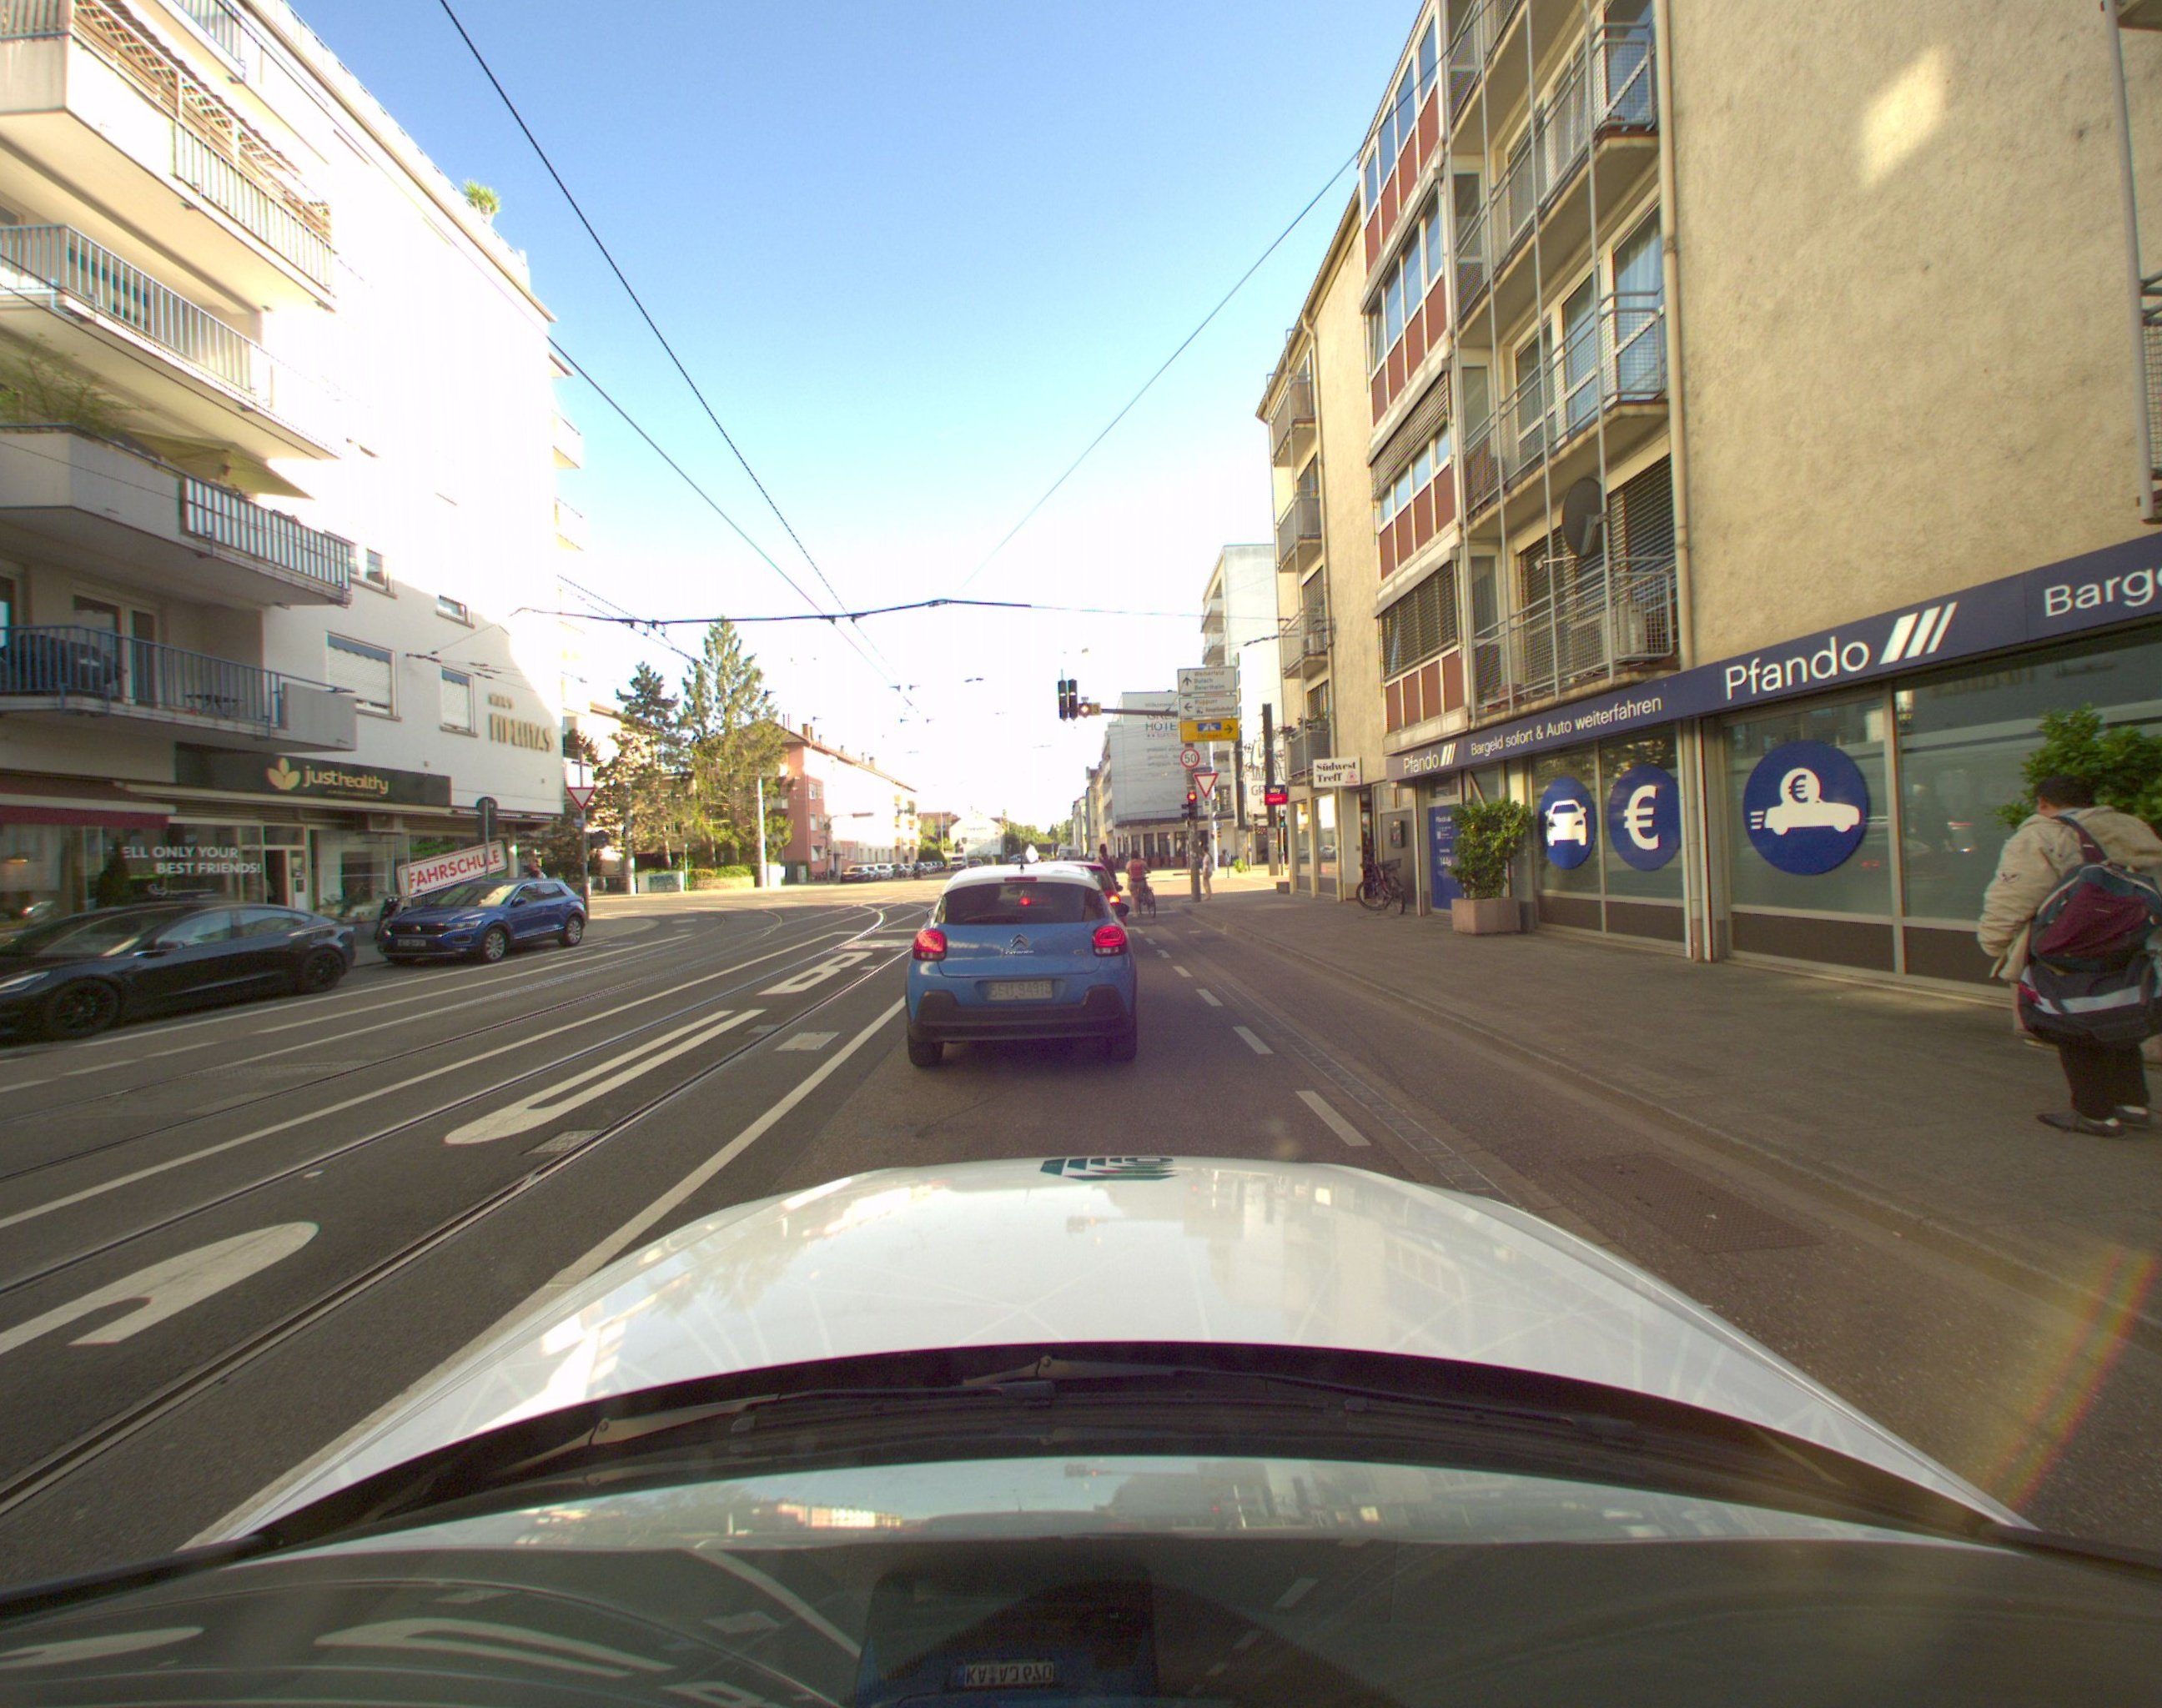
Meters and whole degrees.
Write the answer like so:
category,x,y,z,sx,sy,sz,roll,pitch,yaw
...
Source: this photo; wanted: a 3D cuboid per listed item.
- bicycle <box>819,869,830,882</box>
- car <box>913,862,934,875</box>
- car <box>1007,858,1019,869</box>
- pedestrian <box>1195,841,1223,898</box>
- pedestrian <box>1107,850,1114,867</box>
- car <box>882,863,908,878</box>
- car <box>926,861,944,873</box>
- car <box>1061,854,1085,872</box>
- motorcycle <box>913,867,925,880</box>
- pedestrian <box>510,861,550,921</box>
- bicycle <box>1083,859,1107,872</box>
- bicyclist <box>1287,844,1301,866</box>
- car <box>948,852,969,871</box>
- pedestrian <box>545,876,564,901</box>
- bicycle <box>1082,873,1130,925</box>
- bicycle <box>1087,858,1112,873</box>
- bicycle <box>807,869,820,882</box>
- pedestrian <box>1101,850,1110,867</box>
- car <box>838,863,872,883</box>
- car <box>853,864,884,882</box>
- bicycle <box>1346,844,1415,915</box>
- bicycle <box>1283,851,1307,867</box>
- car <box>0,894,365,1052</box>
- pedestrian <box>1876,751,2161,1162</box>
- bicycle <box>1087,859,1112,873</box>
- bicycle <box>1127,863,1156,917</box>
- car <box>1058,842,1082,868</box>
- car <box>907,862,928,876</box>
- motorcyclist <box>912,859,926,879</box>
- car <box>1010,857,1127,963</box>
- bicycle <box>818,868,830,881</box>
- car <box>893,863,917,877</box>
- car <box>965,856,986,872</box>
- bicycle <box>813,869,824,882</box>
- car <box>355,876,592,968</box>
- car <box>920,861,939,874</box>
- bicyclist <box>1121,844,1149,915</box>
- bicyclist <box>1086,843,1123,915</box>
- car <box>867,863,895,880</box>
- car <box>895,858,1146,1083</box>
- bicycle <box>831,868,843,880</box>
category,x,y,z,sx,sy,sz,roll,pitch,yaw
bicycle,-21.595,1.793,68.485,0.537,1.082,1.905,-2,0,-9
car,-20.095,1.801,104.052,1.947,1.519,3.995,-2,0,-4
car,-14.261,1.982,171.424,2.333,2.039,5.044,-2,0,-4
pedestrian,3.830,0.455,24.362,0.747,1.635,0.742,-2,0,7
pedestrian,2.525,0.382,70.130,0.467,1.420,0.524,-2,0,-11
car,-19.728,1.740,86.541,1.947,1.519,3.995,-2,0,-4
car,-20.722,1.853,115.697,1.947,1.519,3.995,-2,0,-4
car,-0.715,0.744,67.998,1.783,1.359,3.909,-2,0,-4
motorcycle,-13.483,1.598,67.774,0.751,0.976,2.092,-2,0,-7
pedestrian,-17.437,1.171,25.778,0.761,1.834,0.725,-2,0,28
bicycle,1.161,0.955,68.456,1.901,1.064,0.641,-2,0,-6
bicyclist,14.799,0.070,56.652,0.720,1.434,0.609,-3,0,39
car,-18.123,1.104,120.589,2.489,2.712,5.828,-2,0,-5
pedestrian,-36.093,2.355,55.798,0.805,1.702,0.681,-2,0,1
bicycle,0.560,1.021,19.126,0.617,1.103,1.877,-2,0,-14
bicycle,1.517,0.932,65.948,1.901,1.064,0.641,-2,0,-6
bicycle,-22.379,1.793,68.091,0.640,1.082,1.905,-2,0,-9
pedestrian,2.105,0.398,70.391,0.520,1.420,0.550,-3,0,22
car,-19.289,1.600,69.633,1.947,1.519,3.995,-2,0,-4
car,-19.570,1.718,75.256,1.947,1.519,4.040,-2,0,-4
bicycle,5.758,0.458,15.751,0.637,1.264,1.911,-2,0,2
bicycle,14.859,0.364,56.617,1.474,1.091,0.609,-3,0,39
car,-11.985,1.330,10.435,1.720,1.403,4.486,0,0,-2
pedestrian,4.409,0.368,3.591,0.871,1.571,0.868,-4,0,-1
bicycle,1.526,0.963,67.254,1.901,1.064,0.641,-2,0,-6
bicycle,1.532,0.888,20.739,0.611,1.264,1.911,-2,0,2
car,-1.037,0.088,73.460,2.074,2.269,5.647,-1,0,-2
car,-19.849,1.786,99.038,1.947,1.519,3.995,-2,0,-4
motorcyclist,-13.473,1.270,67.706,0.990,1.631,0.737,-2,0,-7
car,-0.227,0.811,13.720,1.675,1.462,3.997,-1,0,-2
bicycle,-23.048,1.842,73.119,0.536,1.082,1.908,-2,0,-4
car,-19.979,1.790,92.609,1.947,1.519,3.995,-2,0,-4
car,-11.483,1.080,88.947,2.002,1.627,5.044,-2,0,-5
bicycle,-21.973,1.794,68.200,0.537,1.082,1.905,-2,0,-9
car,-11.879,1.244,16.338,1.720,1.505,4.113,0,0,-2
car,-20.295,1.773,109.341,1.947,1.519,3.995,-2,0,-4
bicyclist,1.368,0.634,20.706,0.598,1.746,1.084,-2,0,2
bicyclist,0.545,0.567,19.110,0.617,1.630,0.756,-2,0,-14
car,-19.558,1.684,79.868,1.947,1.519,3.995,-2,0,-4
car,-0.453,0.791,7.512,1.675,1.462,3.997,-1,0,-2
bicycle,-22.715,1.860,75.816,0.608,1.082,1.908,-2,0,-4
